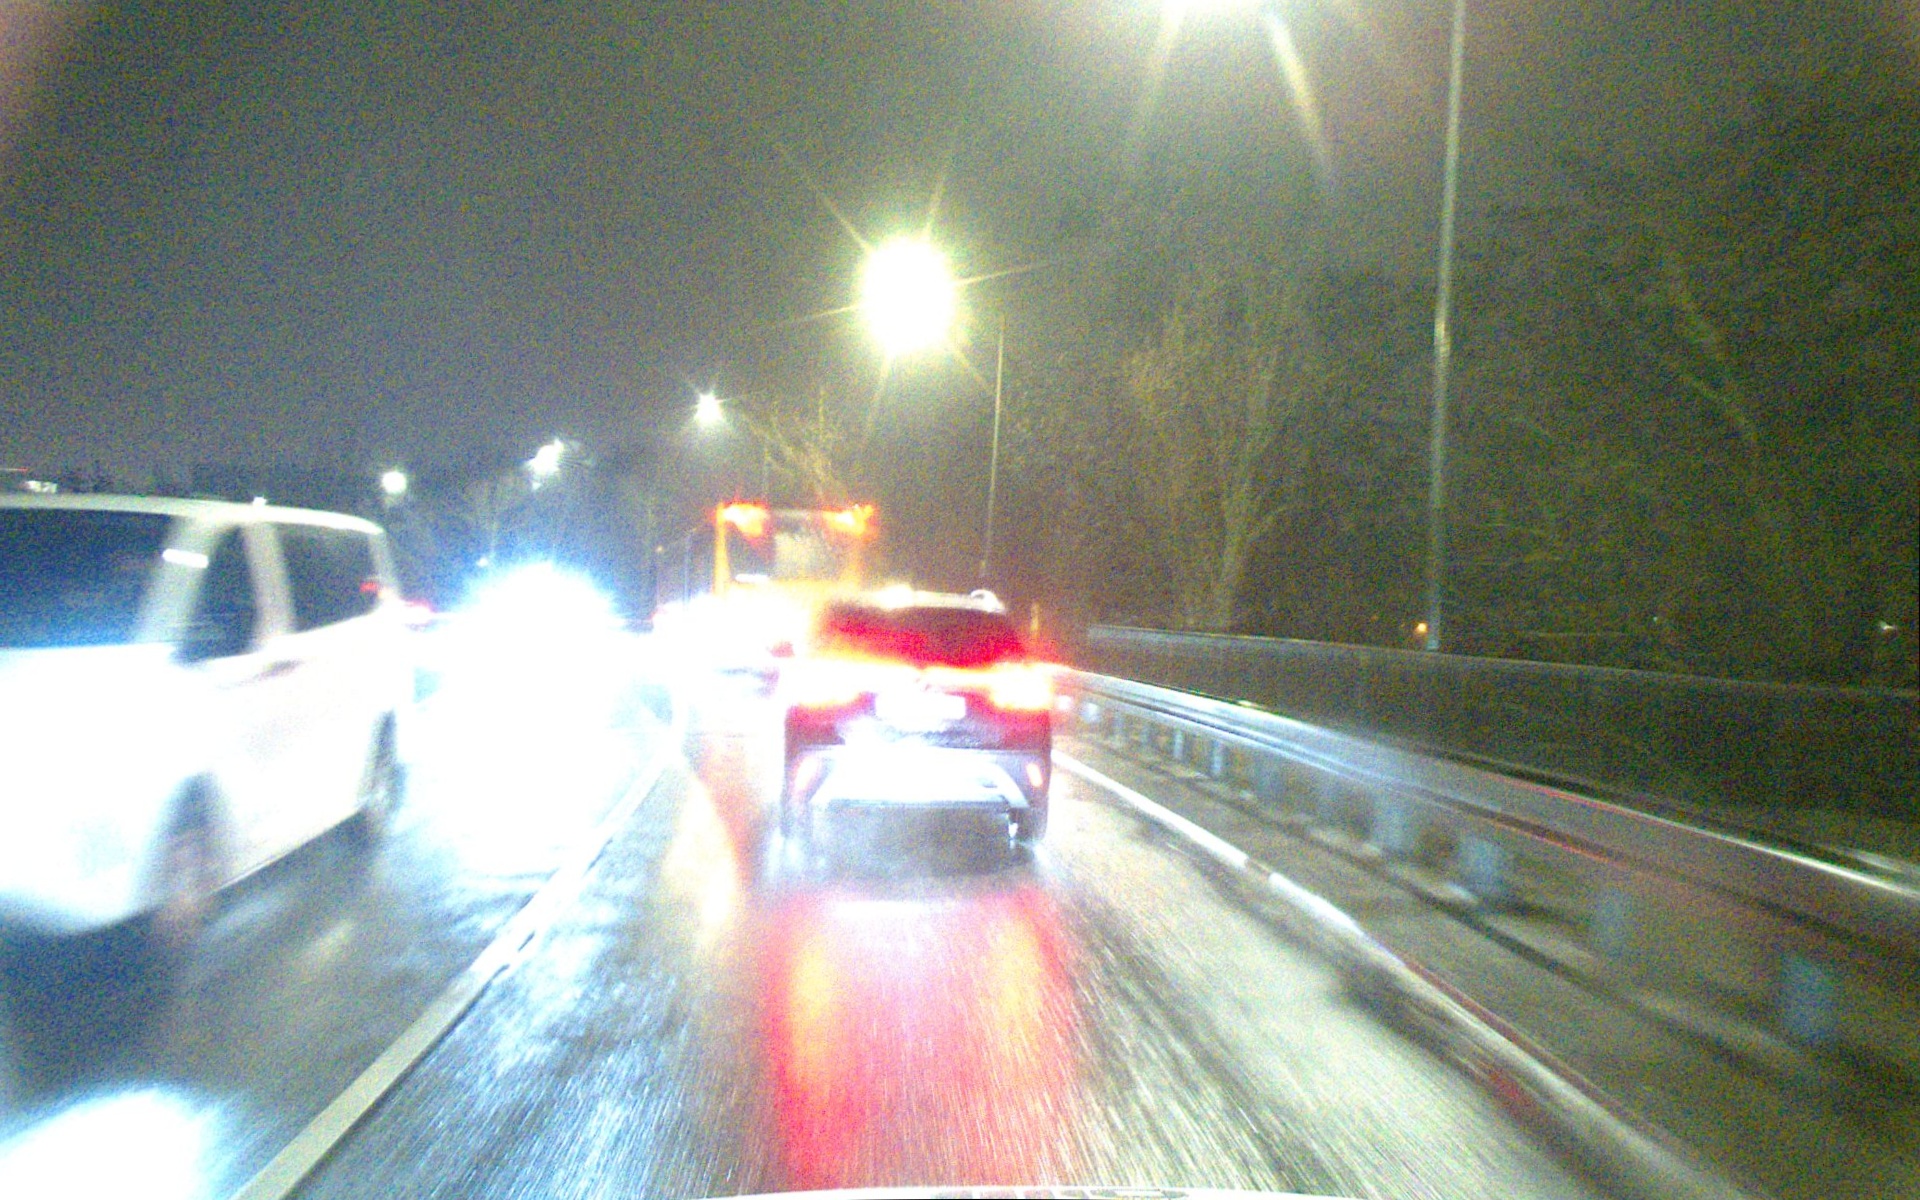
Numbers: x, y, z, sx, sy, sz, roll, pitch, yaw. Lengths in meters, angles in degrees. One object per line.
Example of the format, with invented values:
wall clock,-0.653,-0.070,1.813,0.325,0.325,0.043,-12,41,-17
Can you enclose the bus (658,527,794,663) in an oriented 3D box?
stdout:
bus,-6.245,-0.245,43.009,2.995,3.186,8.056,0,2,-12

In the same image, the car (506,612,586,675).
car,-11.736,1.190,47.105,1.863,1.594,4.723,1,1,-10

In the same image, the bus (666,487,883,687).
bus,-4.068,-0.233,32.803,3.029,3.187,12.657,0,0,-12

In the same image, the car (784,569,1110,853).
car,-0.274,0.646,11.508,1.820,1.614,3.994,1,0,-7

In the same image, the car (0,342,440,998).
car,-4.118,0.248,8.063,2.004,2.208,5.148,0,0,-6

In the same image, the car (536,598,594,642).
car,-16.455,0.853,68.816,1.616,1.685,3.678,-1,-2,-26
